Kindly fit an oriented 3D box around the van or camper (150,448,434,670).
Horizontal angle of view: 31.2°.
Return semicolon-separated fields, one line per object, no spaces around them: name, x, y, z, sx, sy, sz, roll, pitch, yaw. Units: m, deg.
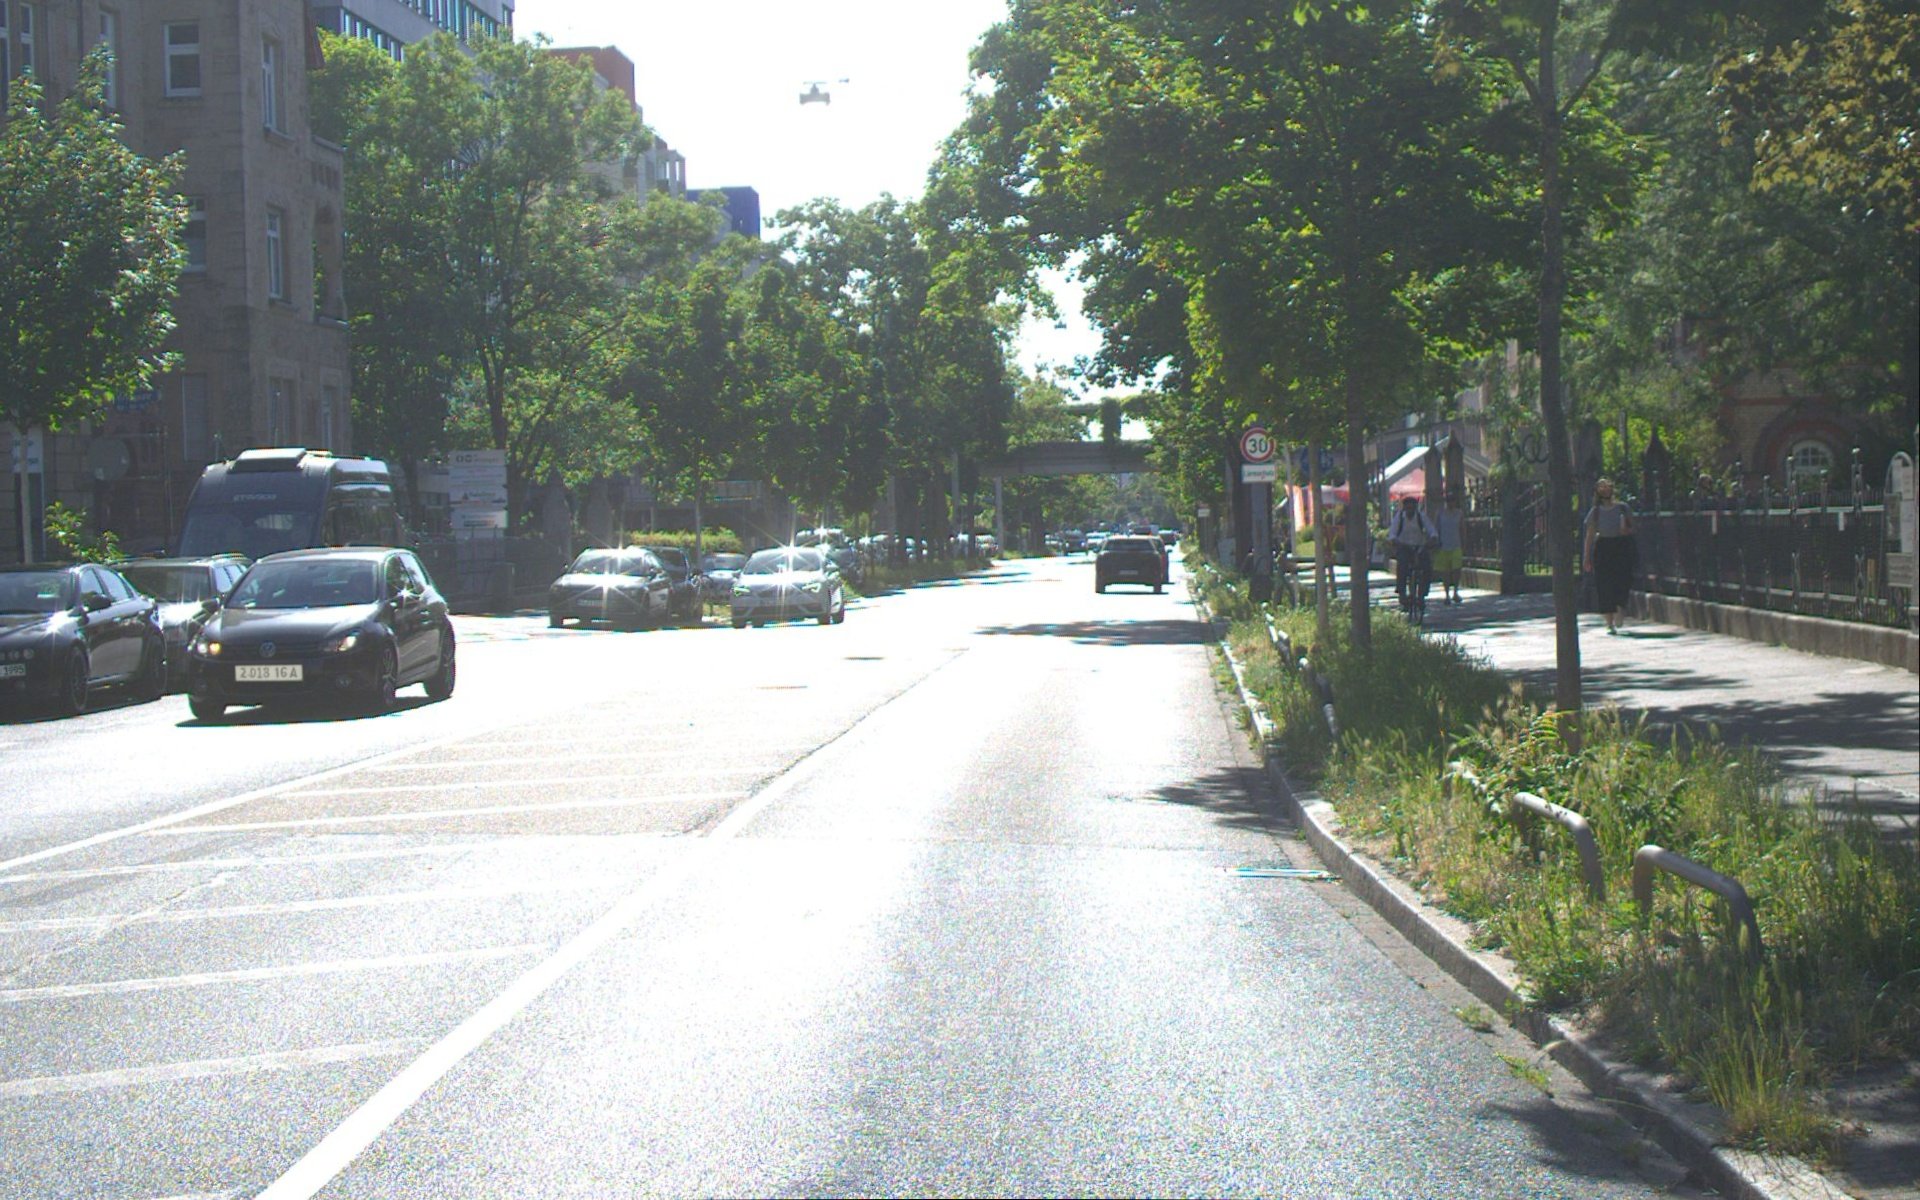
van or camper;-8.860;-0.592;46.211;2.216;2.730;6.088;-2;1;3

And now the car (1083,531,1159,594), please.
car;4.296;-1.020;92.223;1.985;1.595;4.140;-1;1;2

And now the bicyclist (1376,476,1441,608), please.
bicyclist;5.944;-0.774;45.592;0.620;1.684;0.820;-5;1;0

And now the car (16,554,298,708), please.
car;-8.793;0.296;38.042;1.694;1.451;4.663;-3;1;3

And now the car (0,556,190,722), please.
car;-8.960;0.360;33.106;1.780;1.408;4.405;-3;1;3

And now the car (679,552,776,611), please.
car;-5.316;-0.444;78.951;1.678;1.251;4.014;-1;1;4

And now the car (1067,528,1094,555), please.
car;8.775;-4.244;249.988;1.856;1.818;4.610;-3;1;2

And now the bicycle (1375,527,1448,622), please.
bicycle;5.978;-0.347;45.603;0.616;1.172;1.919;-5;1;0

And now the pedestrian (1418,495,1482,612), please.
pedestrian;7.750;-0.736;54.387;0.748;1.781;0.810;-4;1;17

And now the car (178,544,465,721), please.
car;-5.792;0.248;31.634;1.592;1.445;4.133;-2;1;4

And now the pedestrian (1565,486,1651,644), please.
pedestrian;7.067;-0.385;37.516;0.695;1.652;0.820;-5;0;3

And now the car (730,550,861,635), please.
car;-2.969;-0.171;62.937;1.918;1.414;4.225;-2;1;3

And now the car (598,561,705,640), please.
car;-6.358;-0.014;71.258;1.855;1.489;4.706;1;1;-1

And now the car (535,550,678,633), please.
car;-6.689;-0.187;65.513;1.856;1.422;4.719;2;1;4
